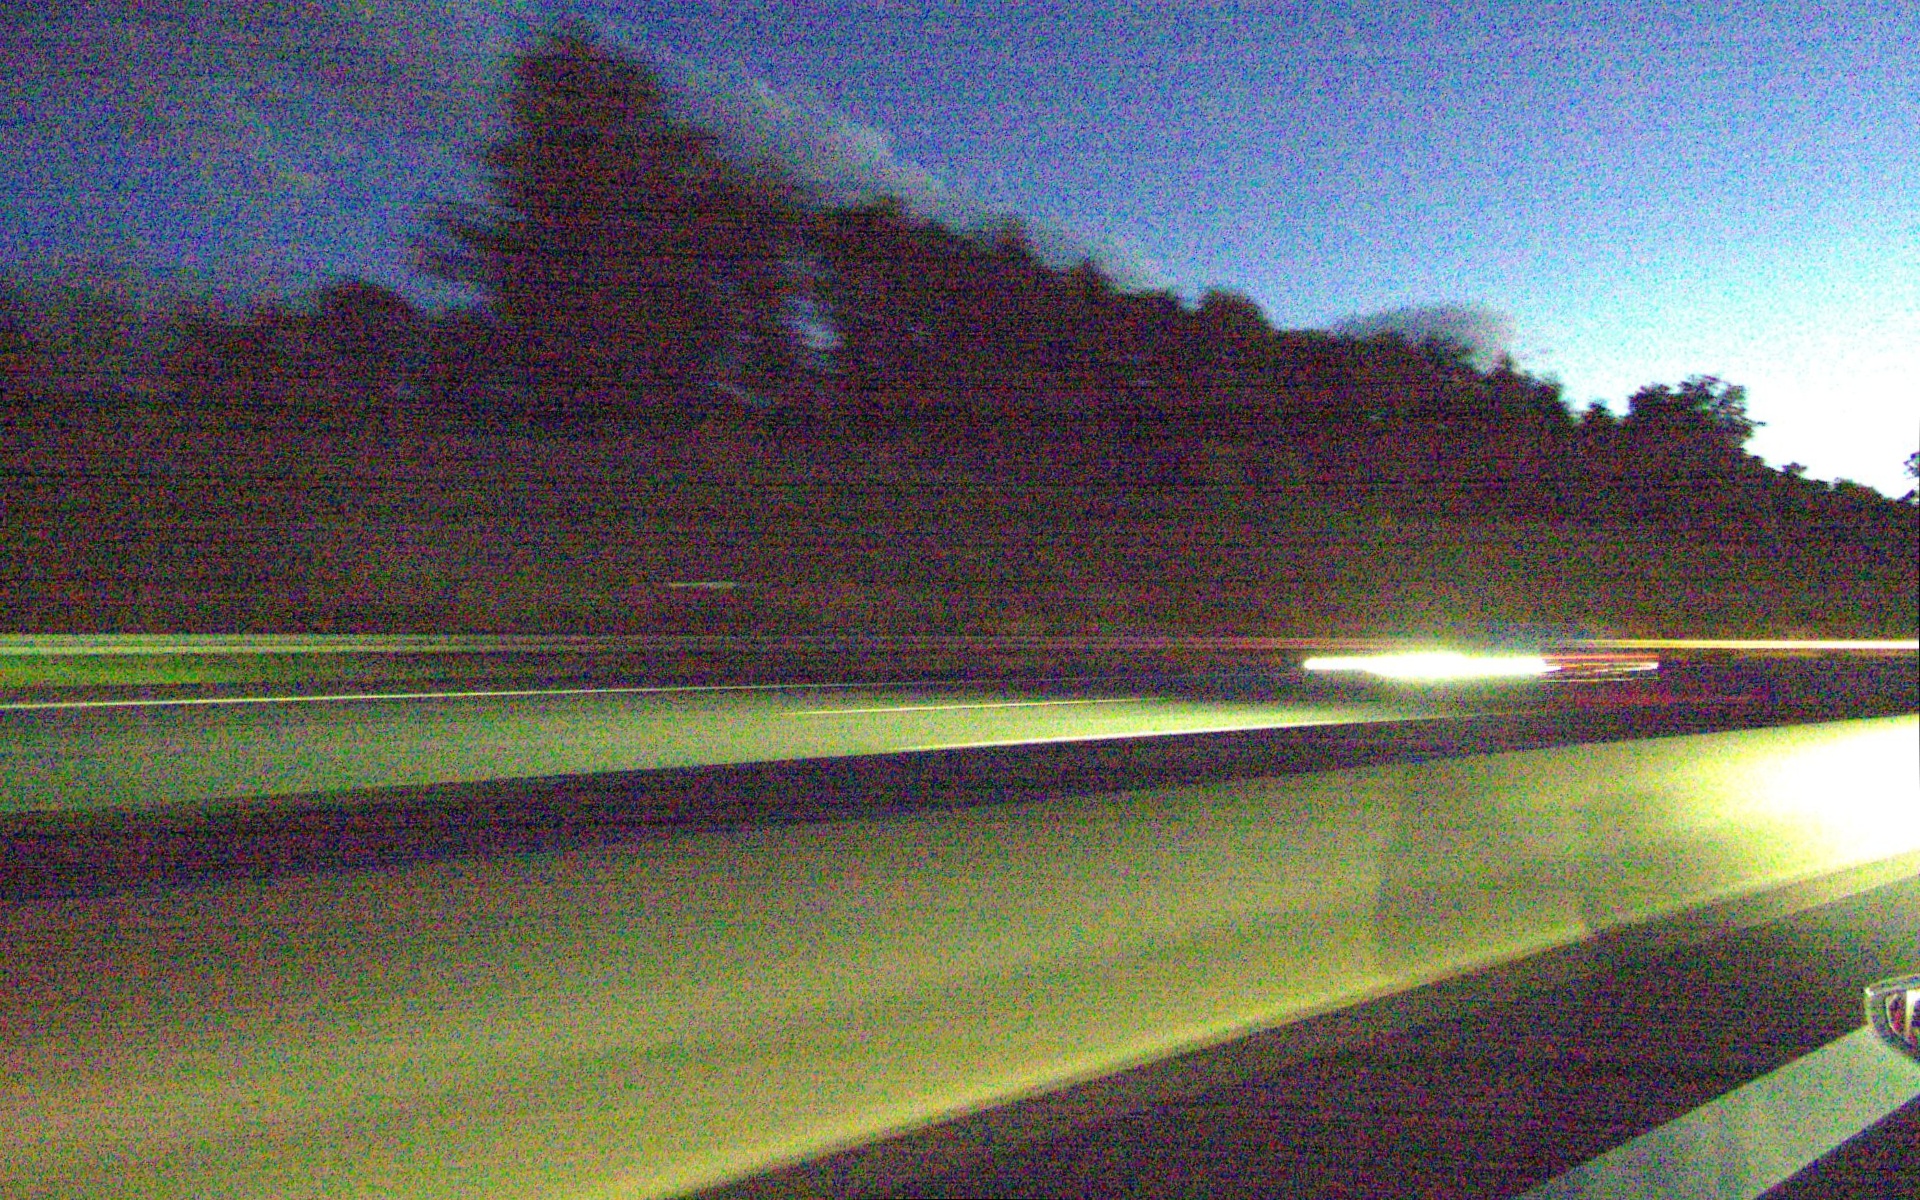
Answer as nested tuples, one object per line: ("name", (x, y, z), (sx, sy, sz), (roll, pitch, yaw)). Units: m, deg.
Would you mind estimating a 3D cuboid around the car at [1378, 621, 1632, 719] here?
("car", (9.538, 1.149, 17.521), (4.402, 1.472, 1.923), (1, 0, -31))
